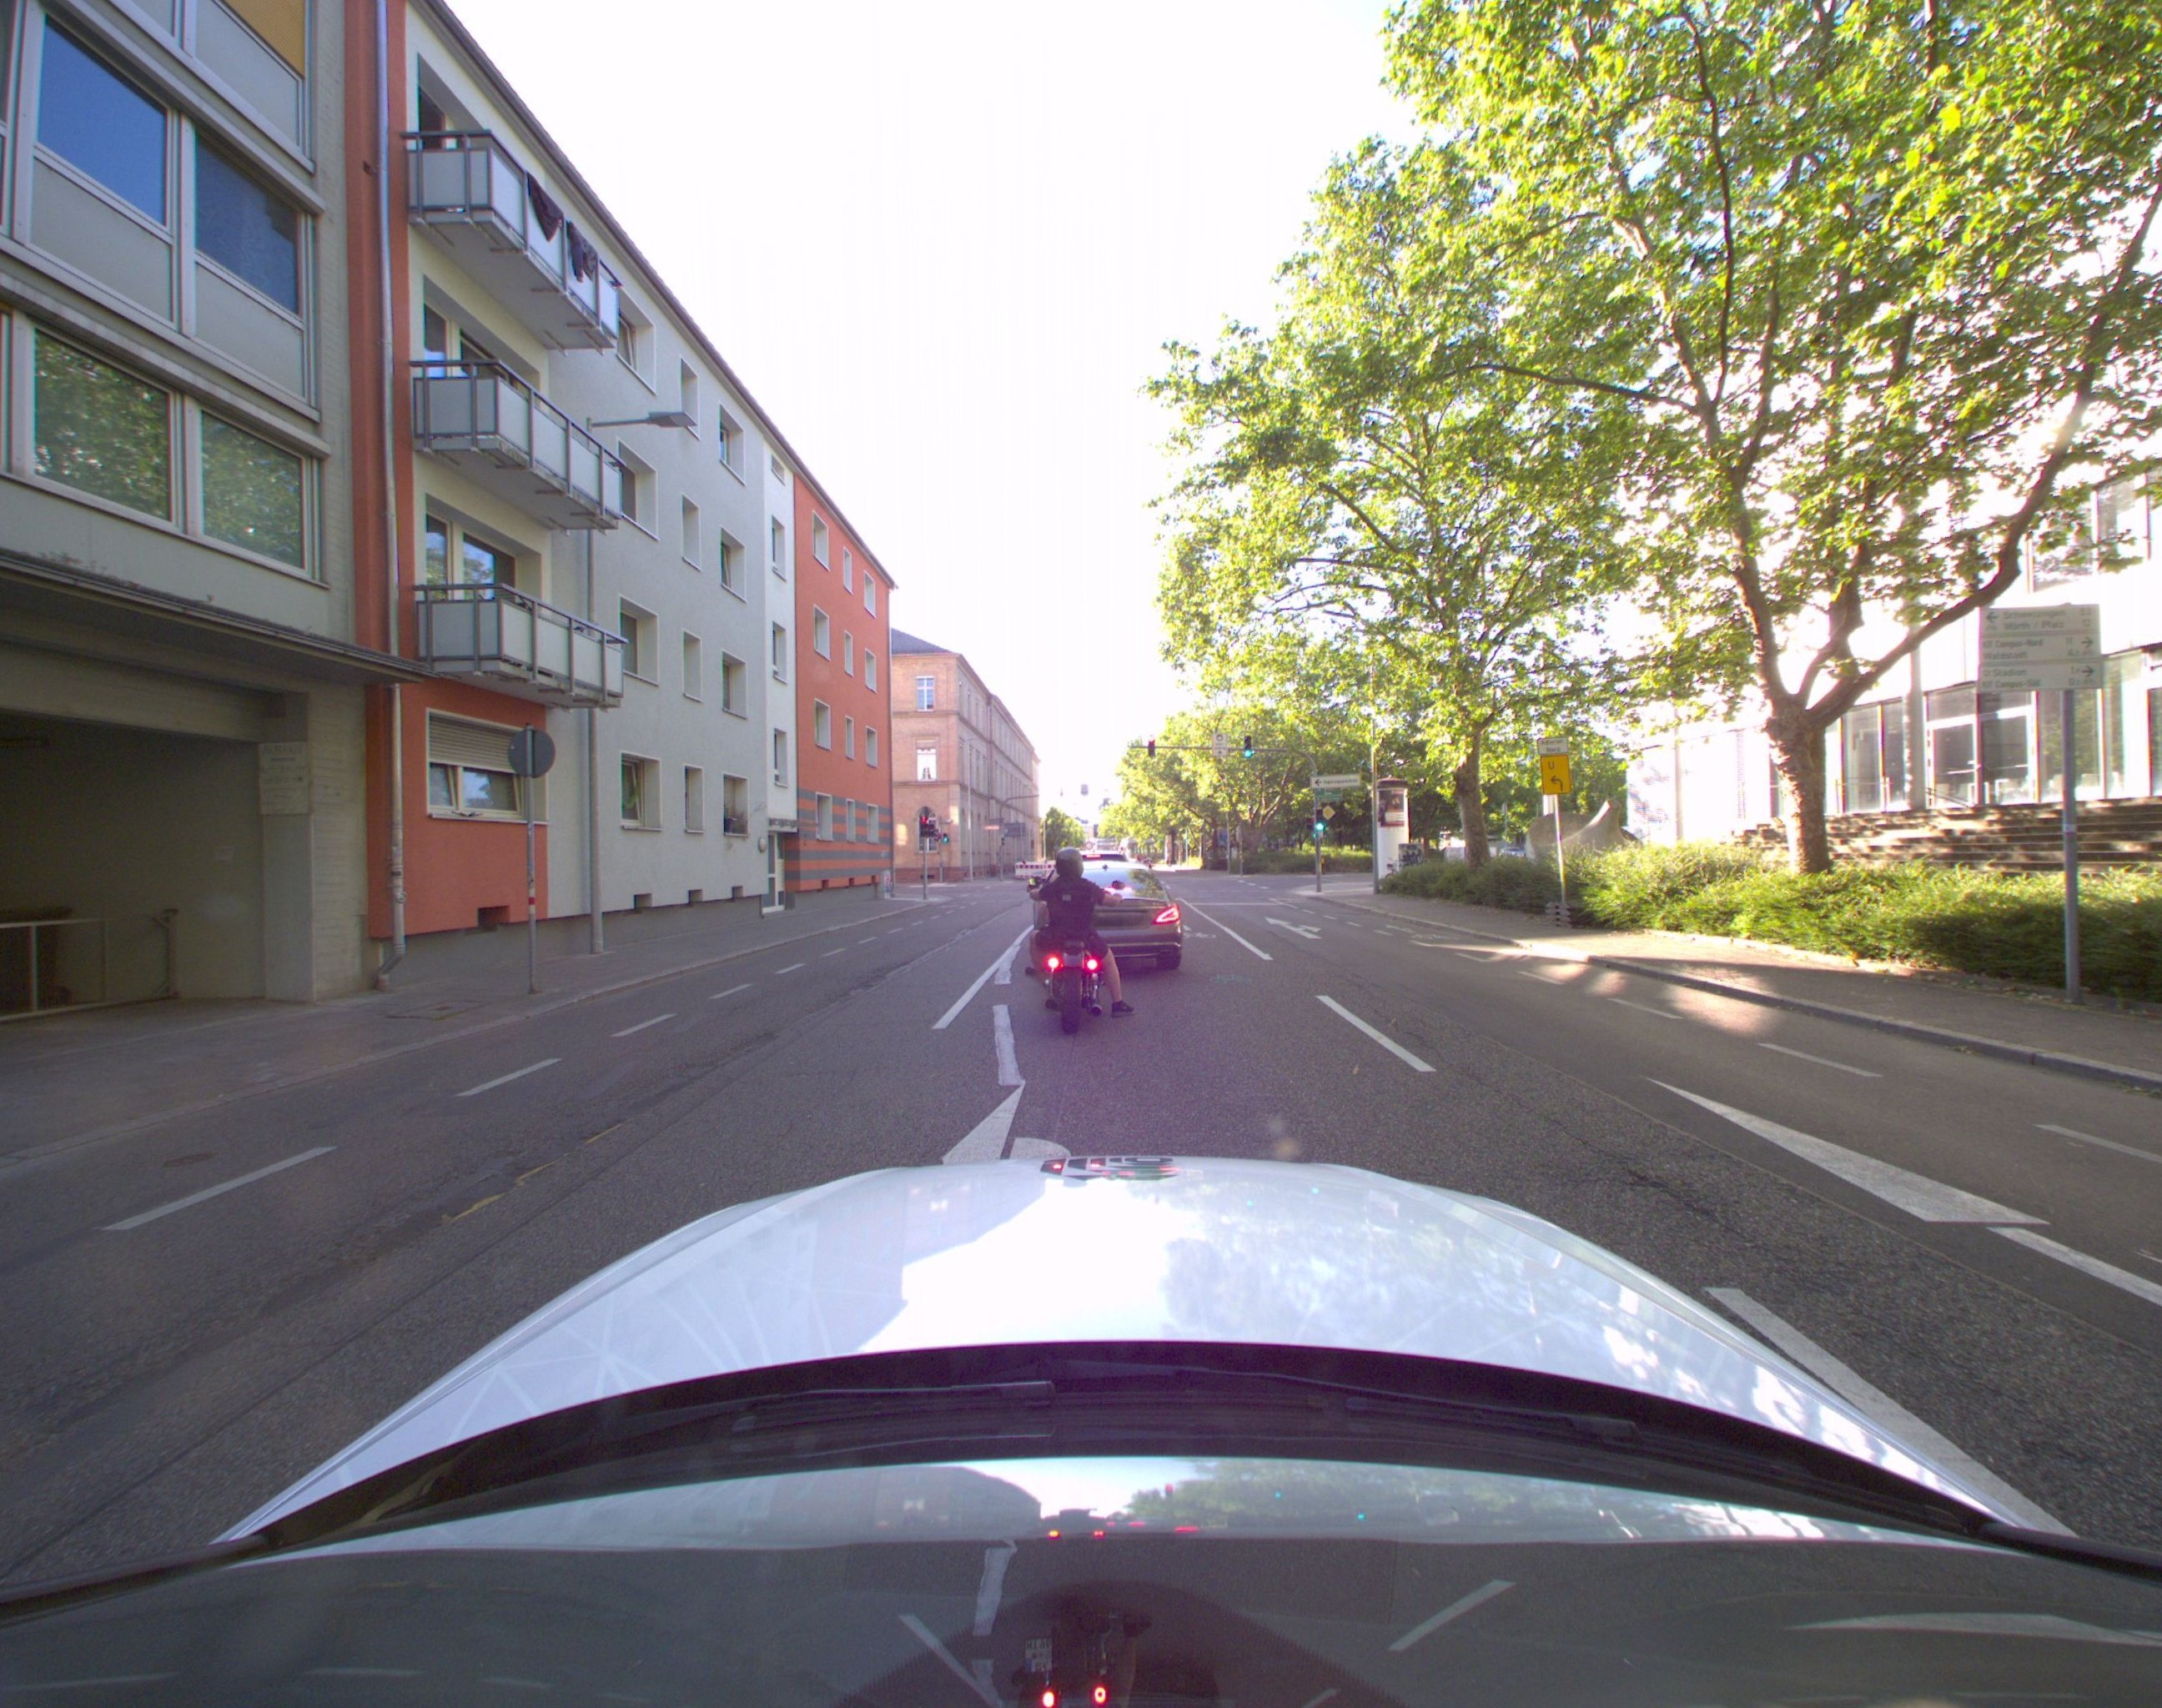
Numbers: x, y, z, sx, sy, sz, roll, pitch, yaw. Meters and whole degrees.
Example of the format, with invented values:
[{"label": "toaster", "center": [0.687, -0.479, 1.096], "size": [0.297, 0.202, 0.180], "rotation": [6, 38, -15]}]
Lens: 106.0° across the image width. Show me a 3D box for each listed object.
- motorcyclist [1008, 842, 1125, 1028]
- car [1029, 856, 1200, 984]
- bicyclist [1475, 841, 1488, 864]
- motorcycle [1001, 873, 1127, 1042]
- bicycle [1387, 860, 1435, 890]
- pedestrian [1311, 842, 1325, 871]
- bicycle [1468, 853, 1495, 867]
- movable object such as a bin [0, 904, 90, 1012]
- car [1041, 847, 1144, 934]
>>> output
[{"label": "motorcyclist", "center": [-0.108, 0.697, 7.647], "size": [0.977, 1.578, 1.249], "rotation": [-1, 0, 1]}, {"label": "car", "center": [0.259, 0.771, 11.767], "size": [1.867, 1.444, 4.421], "rotation": [-1, 0, -6]}, {"label": "bicyclist", "center": [23.778, -0.090, 48.369], "size": [0.520, 1.347, 0.544], "rotation": [0, -1, 5]}, {"label": "motorcycle", "center": [-0.097, 0.856, 7.712], "size": [0.977, 1.275, 2.408], "rotation": [-1, 0, 2]}, {"label": "bicycle", "center": [11.075, 0.709, 27.344], "size": [1.475, 0.980, 0.300], "rotation": [0, -1, 7]}, {"label": "pedestrian", "center": [14.666, 0.182, 50.341], "size": [0.671, 1.772, 0.621], "rotation": [-1, -1, 31]}, {"label": "bicycle", "center": [23.780, 0.355, 48.344], "size": [1.362, 0.800, 0.513], "rotation": [0, -1, 4]}, {"label": "movable object such as a bin", "center": [-11.294, 1.091, 8.669], "size": [0.639, 1.065, 0.675], "rotation": [-1, 0, 1]}, {"label": "car", "center": [0.284, 0.723, 17.694], "size": [1.986, 1.665, 4.001], "rotation": [0, -1, 2]}]
